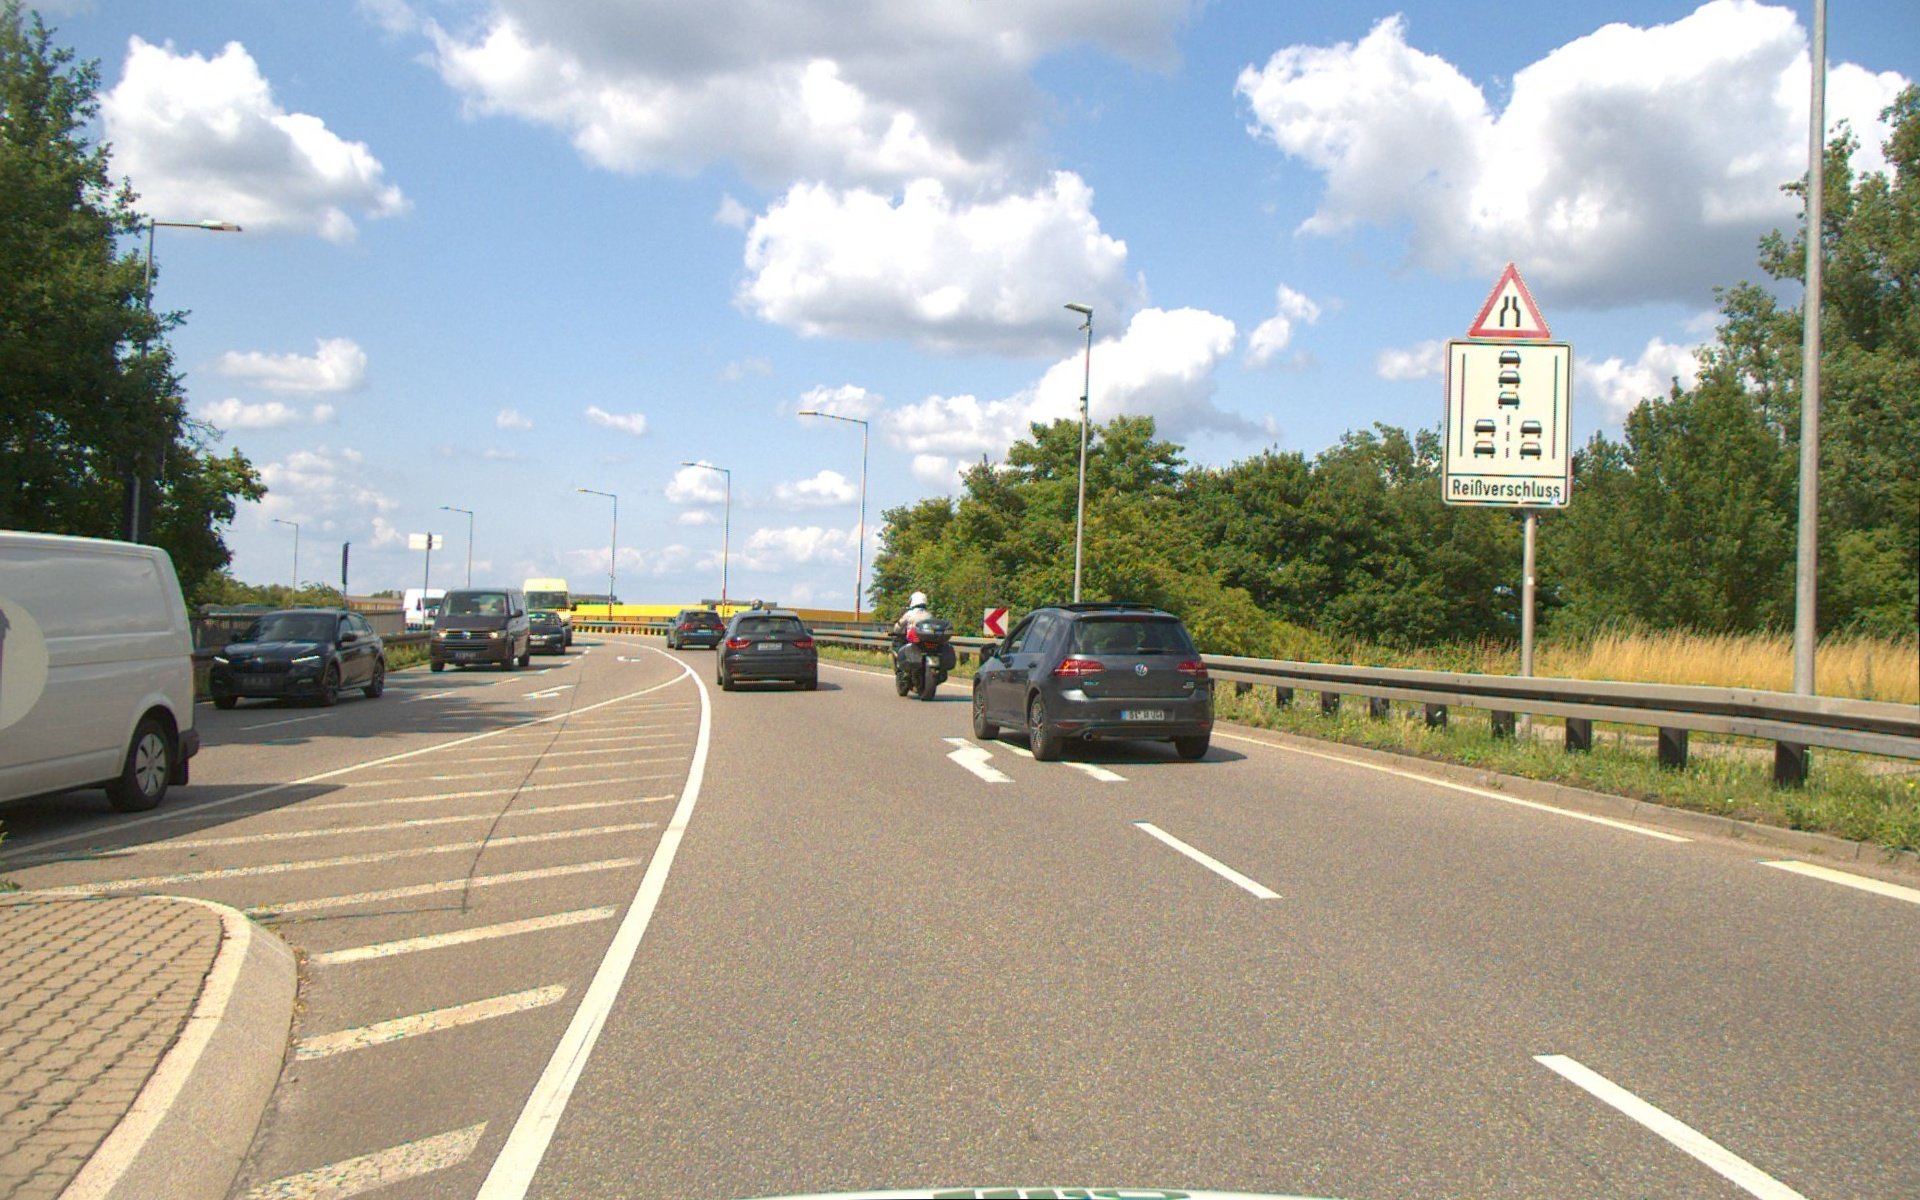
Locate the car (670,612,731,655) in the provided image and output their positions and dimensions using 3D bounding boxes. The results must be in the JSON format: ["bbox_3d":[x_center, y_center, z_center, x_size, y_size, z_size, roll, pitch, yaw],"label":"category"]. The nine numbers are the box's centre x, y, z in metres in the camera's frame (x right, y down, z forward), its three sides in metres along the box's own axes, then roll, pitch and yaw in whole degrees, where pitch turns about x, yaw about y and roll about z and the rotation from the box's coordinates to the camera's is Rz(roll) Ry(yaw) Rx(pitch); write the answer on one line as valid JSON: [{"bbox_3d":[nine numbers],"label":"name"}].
[{"bbox_3d":[-9.501,1.233,60.399,1.617,1.505,3.851,1,-1,-18],"label":"car"}]

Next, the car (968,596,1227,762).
[{"bbox_3d":[1.284,0.760,17.070,1.613,1.505,3.860,1,-1,-12],"label":"car"}]

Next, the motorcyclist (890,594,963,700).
[{"bbox_3d":[-0.546,0.753,26.475,0.949,1.649,1.121,1,-1,-12],"label":"motorcyclist"}]

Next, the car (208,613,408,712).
[{"bbox_3d":[-10.343,0.940,26.568,1.602,1.434,4.336,-1,0,-2],"label":"car"}]

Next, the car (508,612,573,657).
[{"bbox_3d":[-13.801,1.099,54.547,1.766,1.414,3.997,0,0,-10],"label":"car"}]

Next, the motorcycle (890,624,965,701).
[{"bbox_3d":[-0.541,0.968,26.363,0.775,1.152,2.392,1,-1,-11],"label":"motorcycle"}]

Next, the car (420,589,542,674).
[{"bbox_3d":[-11.691,0.735,40.701,1.955,1.947,5.126,0,0,-5],"label":"car"}]

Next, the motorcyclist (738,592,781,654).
[{"bbox_3d":[-5.387,0.612,44.387,0.950,1.624,1.120,1,-1,-16],"label":"motorcyclist"}]

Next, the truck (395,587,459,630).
[{"bbox_3d":[-33.032,0.527,102.404,1.978,2.551,5.870,0,0,-36],"label":"truck"}]

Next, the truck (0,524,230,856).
[{"bbox_3d":[-6.609,0.526,10.174,1.921,1.946,5.369,0,0,-1],"label":"truck"}]

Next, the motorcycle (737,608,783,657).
[{"bbox_3d":[-5.375,0.847,44.372,0.873,1.269,2.389,1,-1,-15],"label":"motorcycle"}]

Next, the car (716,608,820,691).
[{"bbox_3d":[-3.594,0.904,30.520,1.652,1.412,3.729,0,-2,-11],"label":"car"}]

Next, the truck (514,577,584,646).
[{"bbox_3d":[-16.743,0.461,67.205,1.966,2.667,6.063,-1,0,-22],"label":"truck"}]
